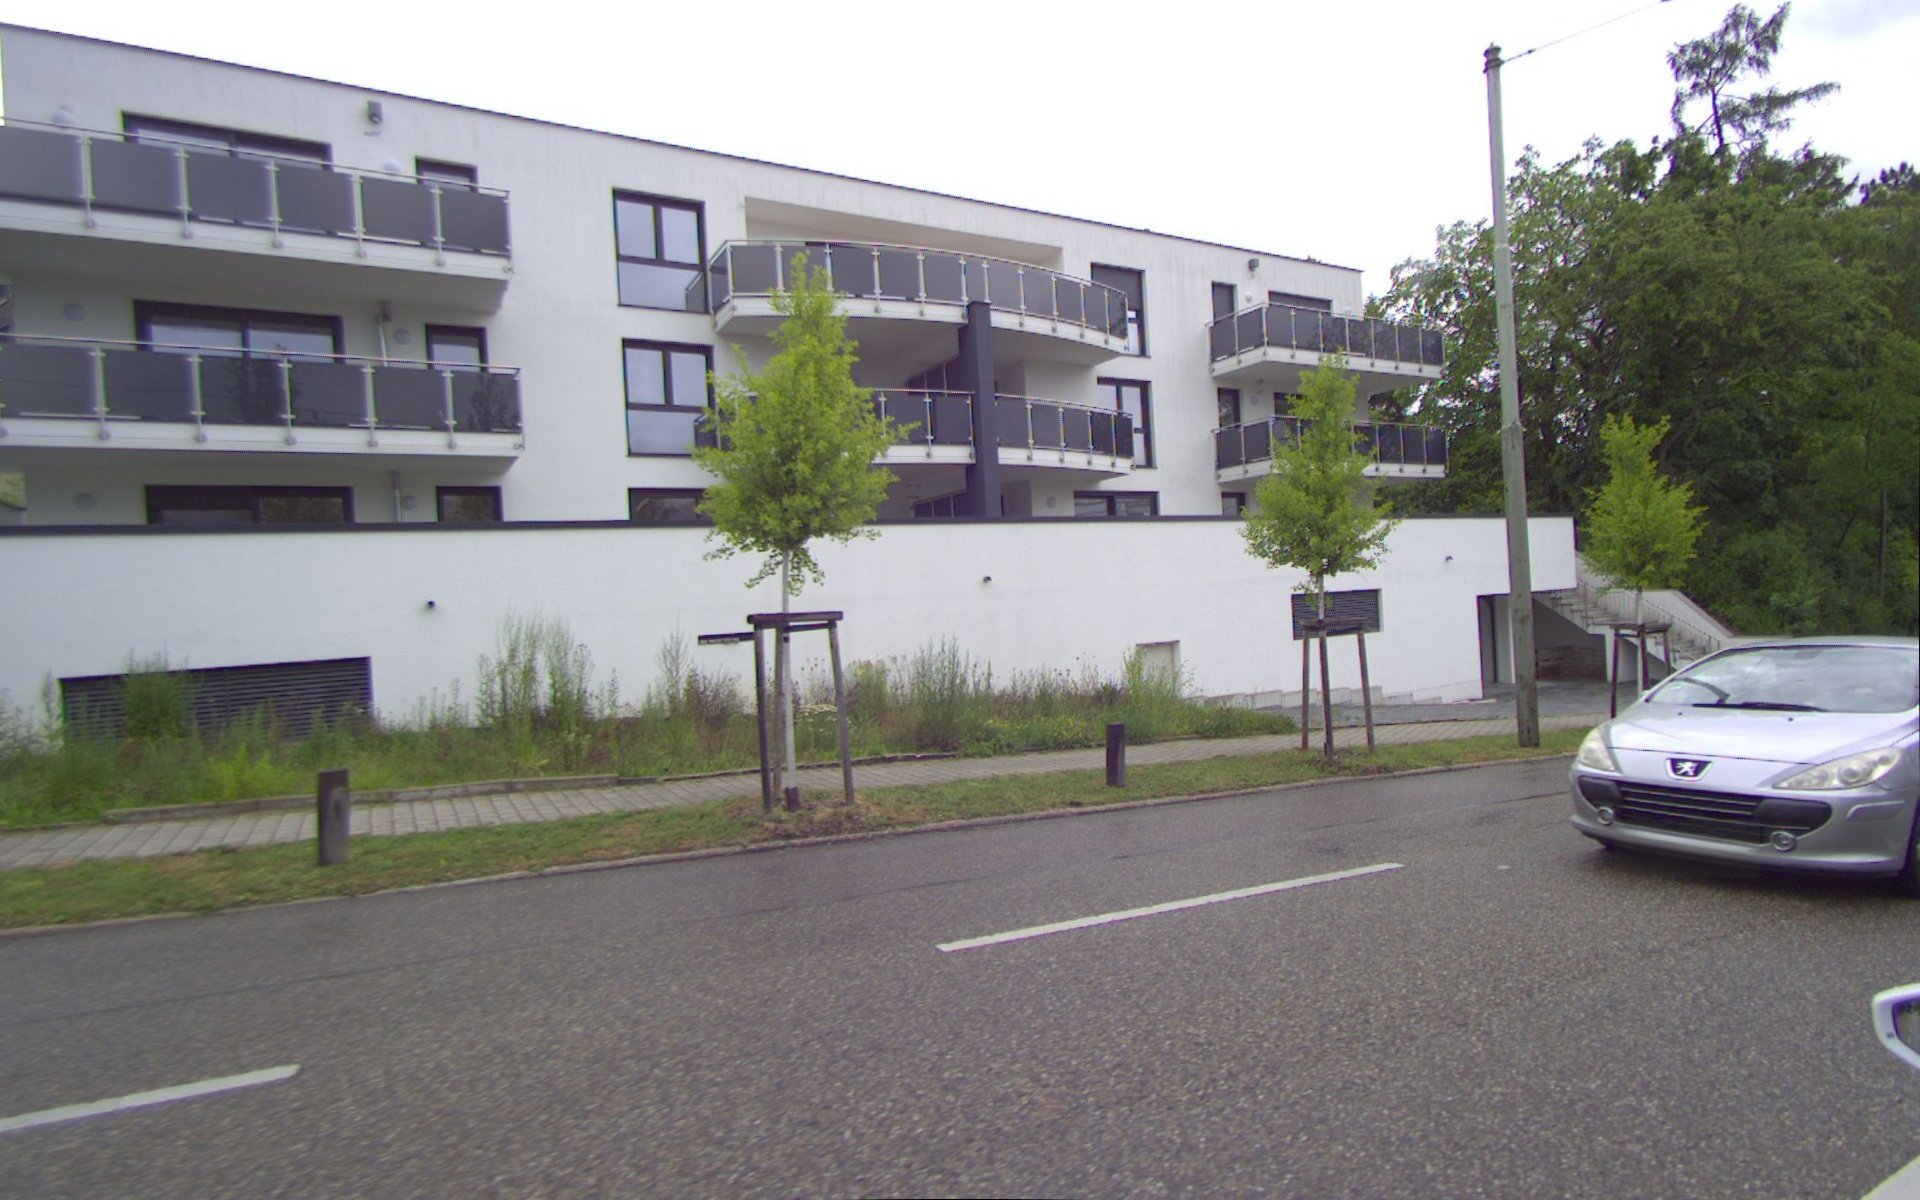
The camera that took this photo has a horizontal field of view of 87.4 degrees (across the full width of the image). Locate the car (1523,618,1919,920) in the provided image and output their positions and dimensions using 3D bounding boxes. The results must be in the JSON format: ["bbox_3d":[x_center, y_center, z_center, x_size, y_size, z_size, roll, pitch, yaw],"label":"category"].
[{"bbox_3d":[5.837,0.924,6.795,3.953,1.505,1.754,1,-4,-30],"label":"car"}]
